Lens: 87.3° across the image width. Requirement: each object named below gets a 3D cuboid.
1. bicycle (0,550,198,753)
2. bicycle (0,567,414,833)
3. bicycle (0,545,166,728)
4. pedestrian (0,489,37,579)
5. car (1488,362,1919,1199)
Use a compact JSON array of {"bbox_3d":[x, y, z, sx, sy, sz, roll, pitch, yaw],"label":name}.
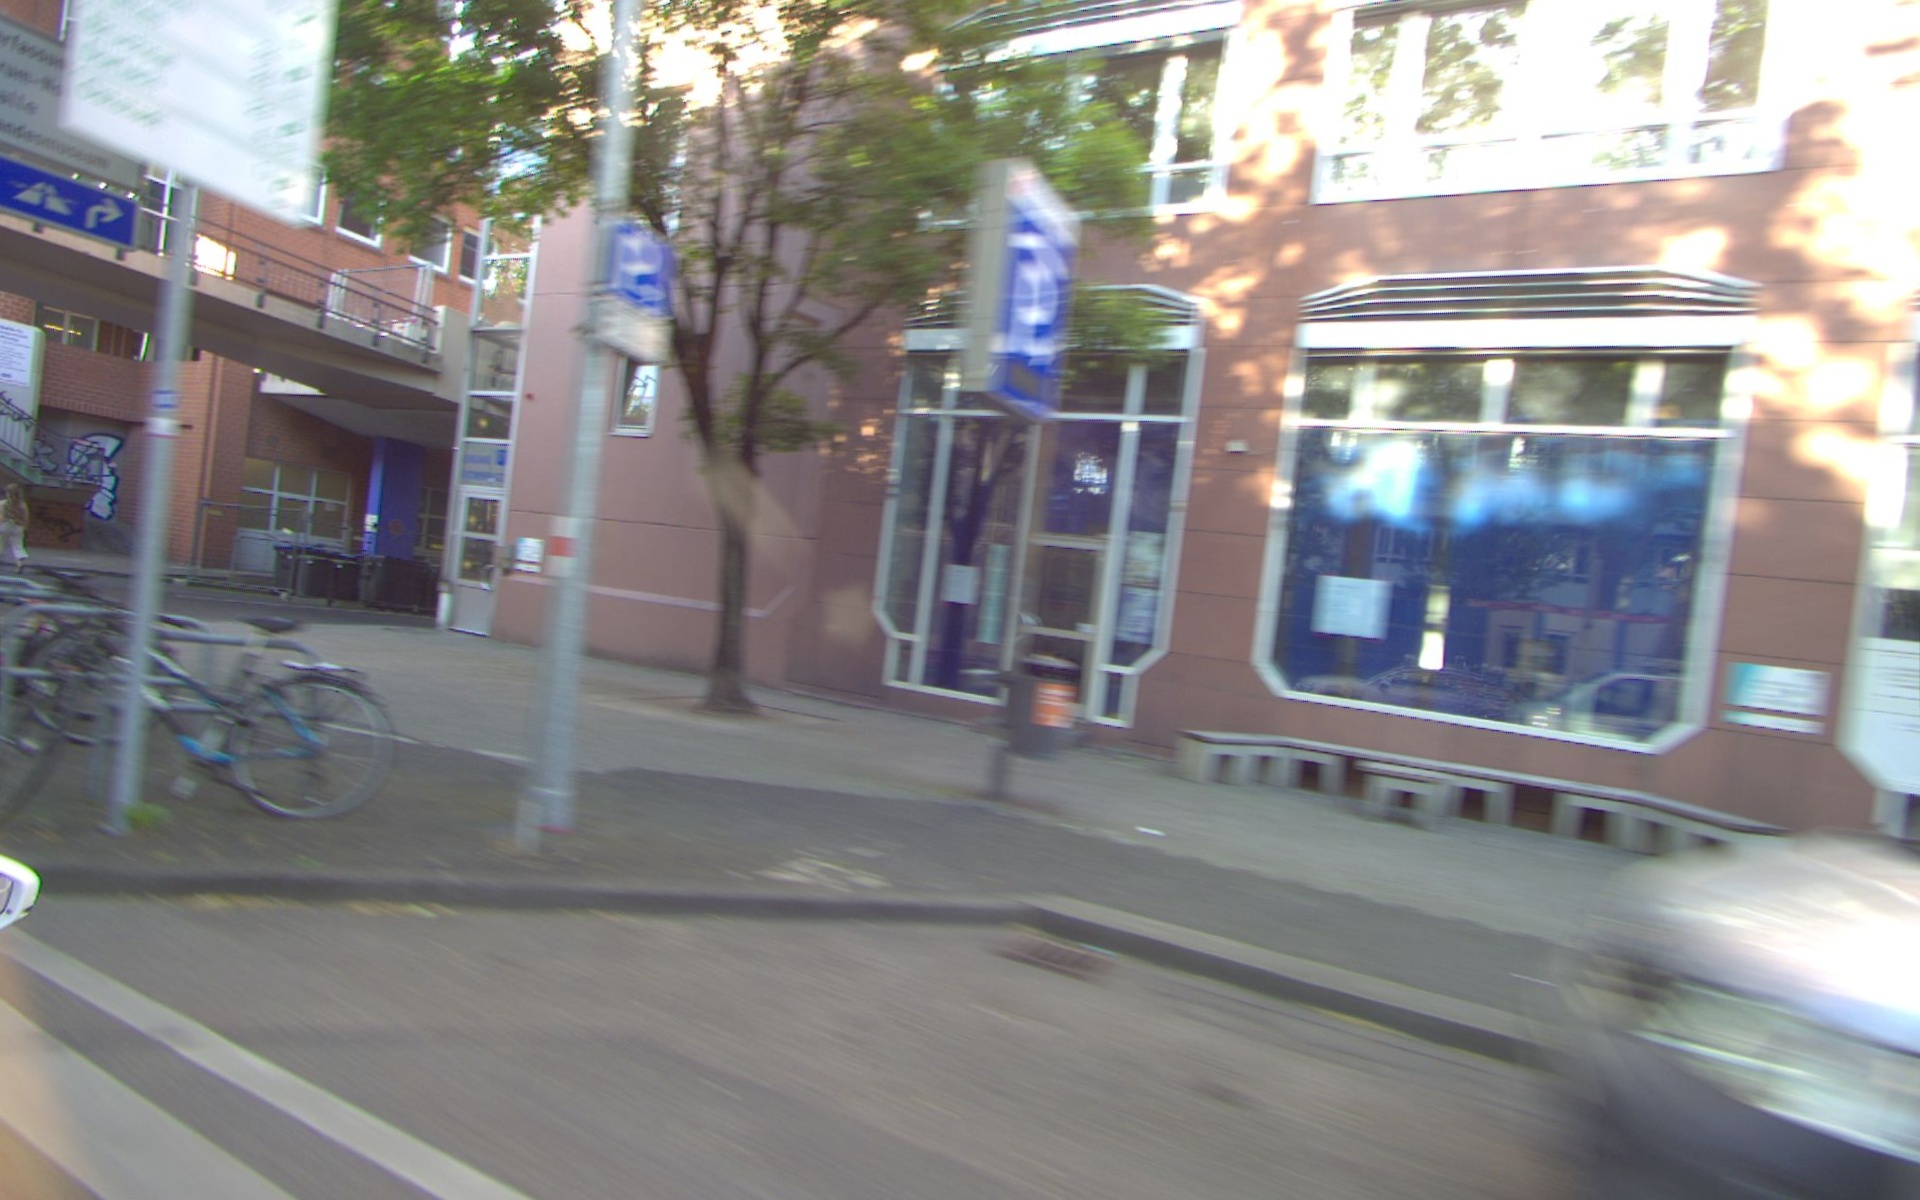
[{"bbox_3d":[-5.564,0.267,5.838,1.664,1.080,0.497,8,0,-29],"label":"bicycle"},{"bbox_3d":[-3.640,0.488,4.795,1.670,1.080,0.505,8,0,-40],"label":"bicycle"},{"bbox_3d":[-6.210,0.191,6.401,1.664,1.080,0.497,8,0,-29],"label":"bicycle"},{"bbox_3d":[-18.359,-1.293,19.325,0.764,1.653,0.570,7,0,27],"label":"pedestrian"},{"bbox_3d":[3.800,0.958,1.504,5.079,2.104,1.923,7,0,27],"label":"car"}]
